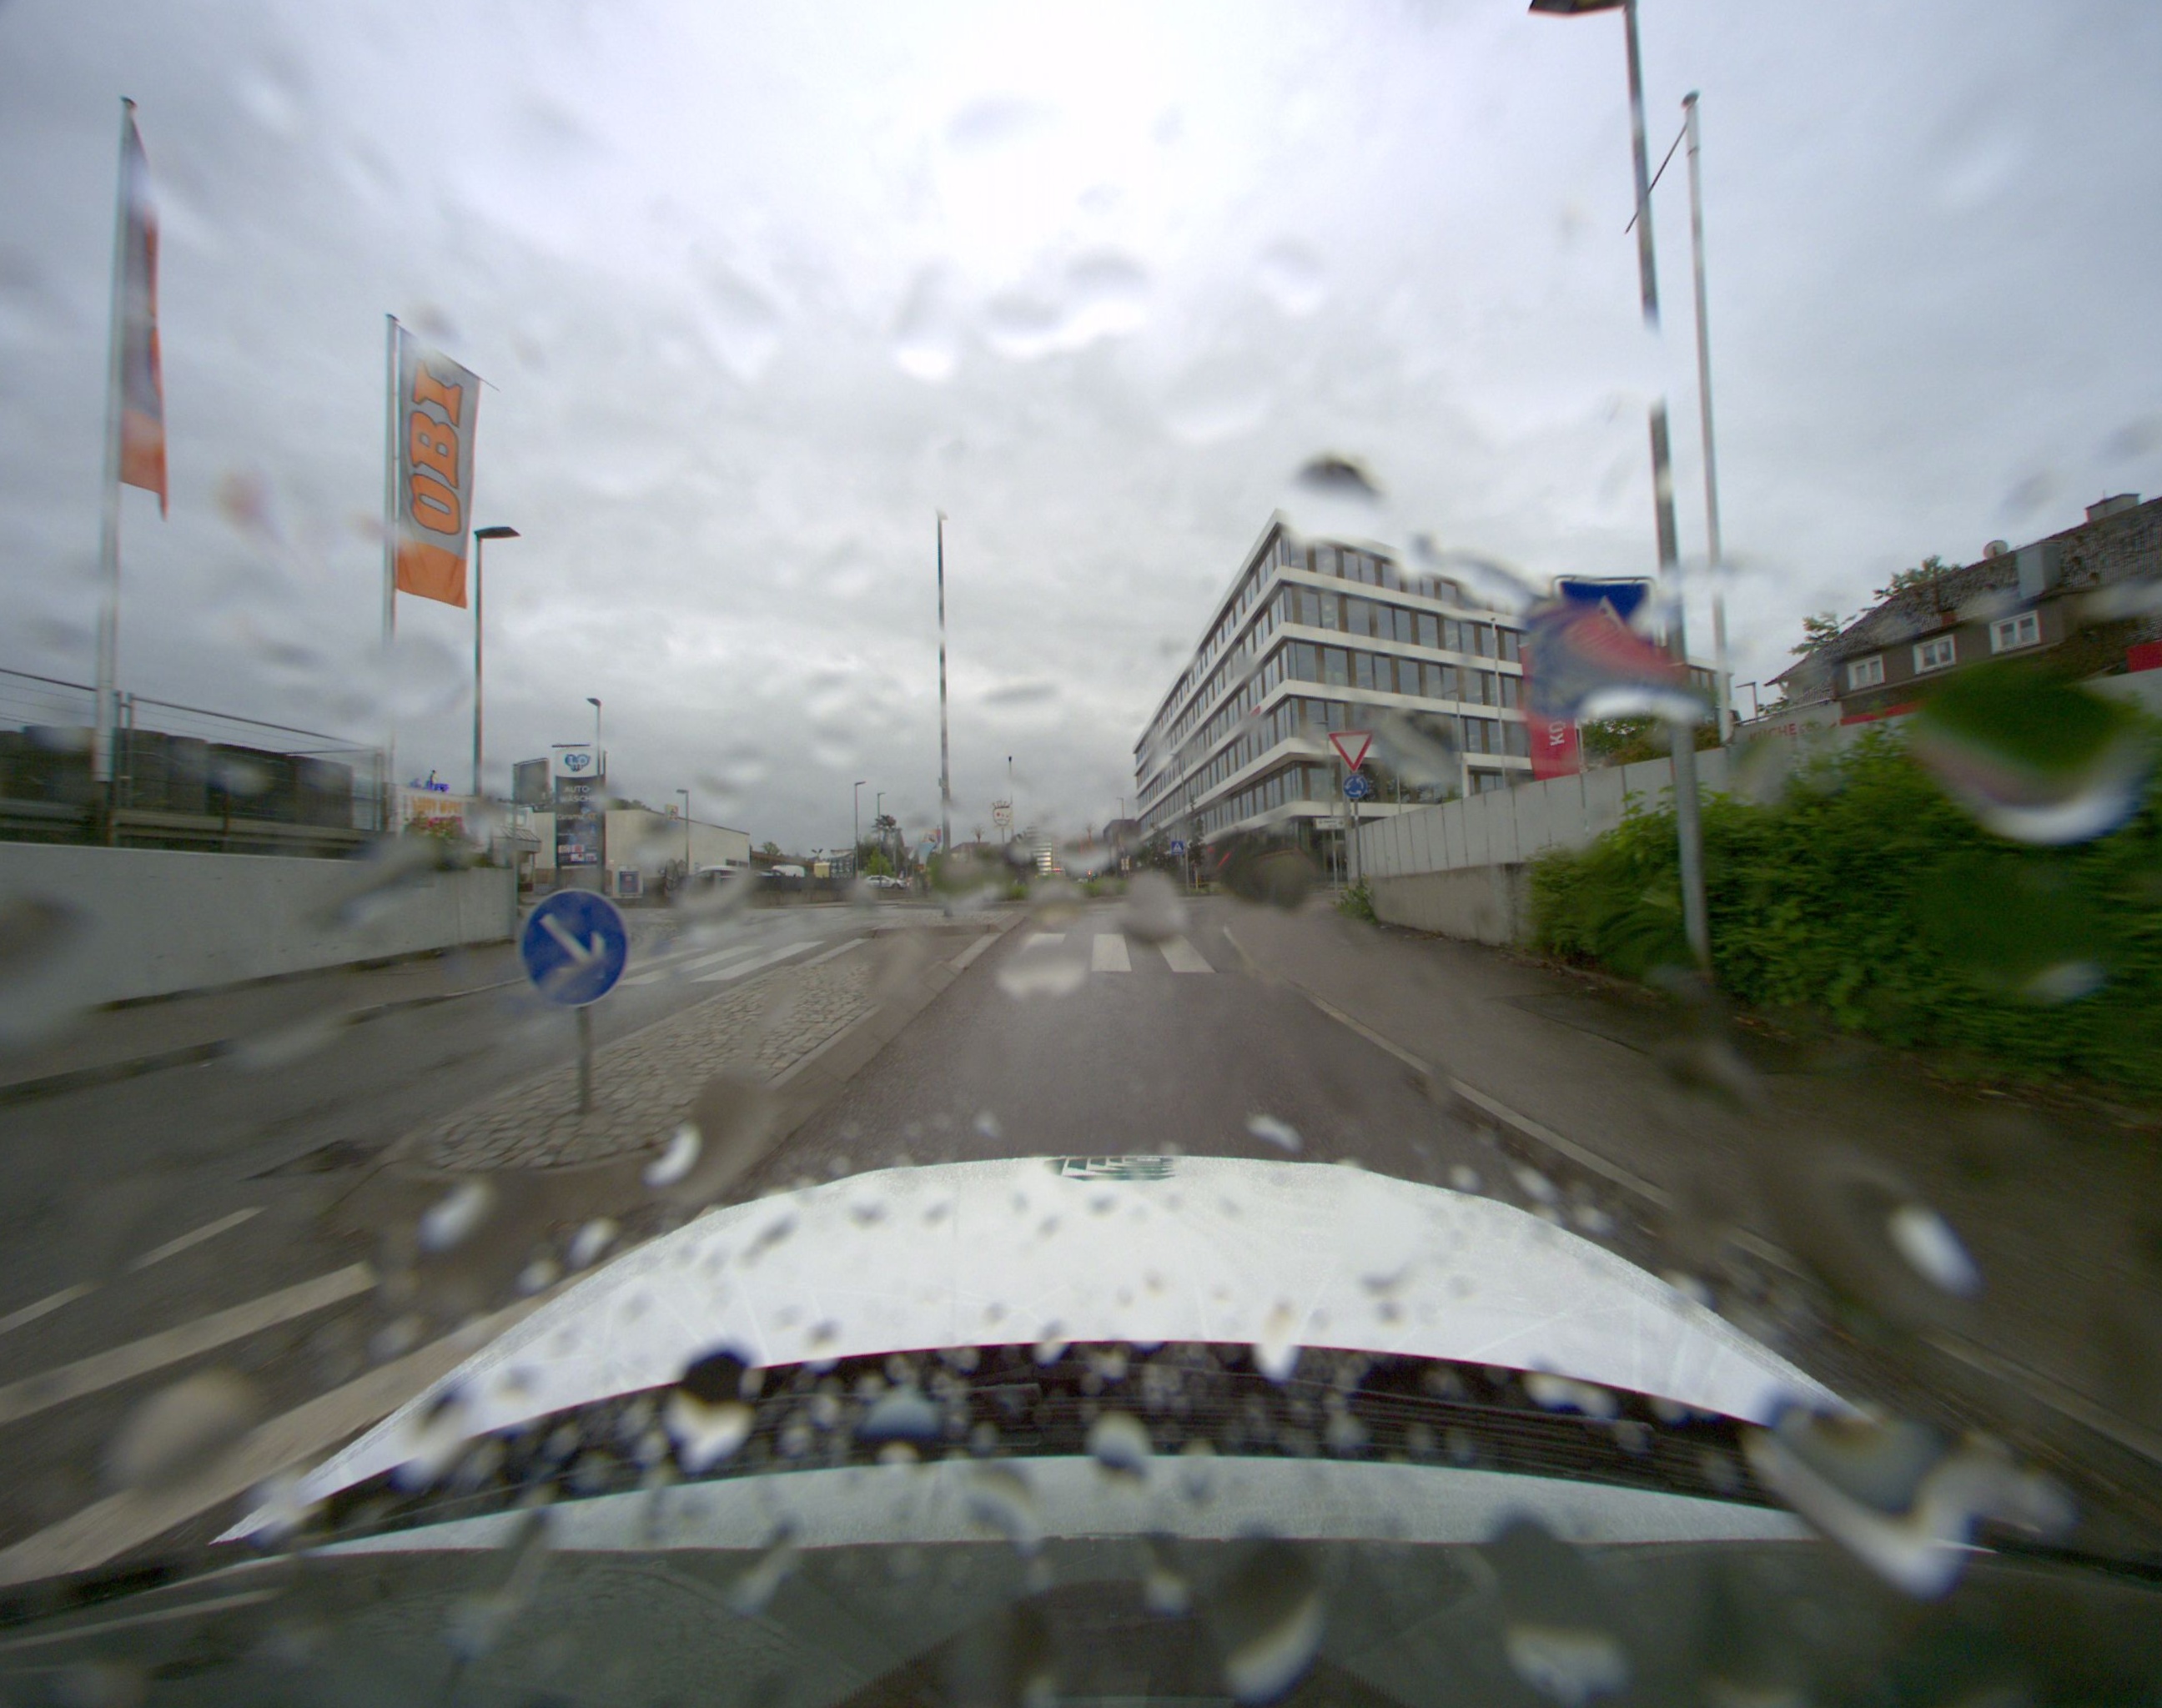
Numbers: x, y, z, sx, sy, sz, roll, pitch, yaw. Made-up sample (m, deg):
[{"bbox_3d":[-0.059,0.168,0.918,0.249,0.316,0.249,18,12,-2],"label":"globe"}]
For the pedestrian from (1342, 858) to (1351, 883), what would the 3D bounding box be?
[{"bbox_3d":[20.146,1.234,61.828,0.589,1.844,0.456,-2,-4,20],"label":"pedestrian"}]

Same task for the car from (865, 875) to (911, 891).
[{"bbox_3d":[-18.516,2.766,78.339,4.013,1.420,1.766,-1,-3,-4],"label":"car"}]

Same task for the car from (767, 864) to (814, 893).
[{"bbox_3d":[-21.882,1.817,61.567,1.990,2.013,4.993,-1,0,-4],"label":"car"}]

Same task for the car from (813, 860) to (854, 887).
[{"bbox_3d":[-19.784,1.536,65.259,1.989,2.013,4.995,-1,0,-3],"label":"car"}]

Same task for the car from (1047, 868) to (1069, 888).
[{"bbox_3d":[-2.310,2.500,84.125,1.986,1.903,4.001,-1,-3,2],"label":"car"}]

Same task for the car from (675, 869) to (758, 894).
[{"bbox_3d":[-19.525,1.488,43.739,3.523,1.286,1.997,-1,-3,-4],"label":"car"}]

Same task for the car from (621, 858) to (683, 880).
[{"bbox_3d":[-30.114,1.037,57.216,3.523,1.420,1.427,-1,0,-4],"label":"car"}]

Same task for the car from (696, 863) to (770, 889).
[{"bbox_3d":[-19.736,1.267,46.295,3.523,1.420,1.427,-1,-3,-4],"label":"car"}]

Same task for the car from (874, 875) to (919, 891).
[{"bbox_3d":[-18.194,2.877,80.378,4.013,1.420,1.766,-1,-3,-4],"label":"car"}]

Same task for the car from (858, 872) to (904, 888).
[{"bbox_3d":[-18.659,2.437,76.181,4.021,1.420,1.762,0,-3,-10],"label":"car"}]

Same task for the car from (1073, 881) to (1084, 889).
[{"bbox_3d":[-0.472,5.434,143.446,1.790,1.410,4.209,0,-3,-3],"label":"car"}]

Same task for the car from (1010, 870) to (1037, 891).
[{"bbox_3d":[-4.187,1.910,59.981,1.588,1.409,3.502,-1,0,2],"label":"car"}]
